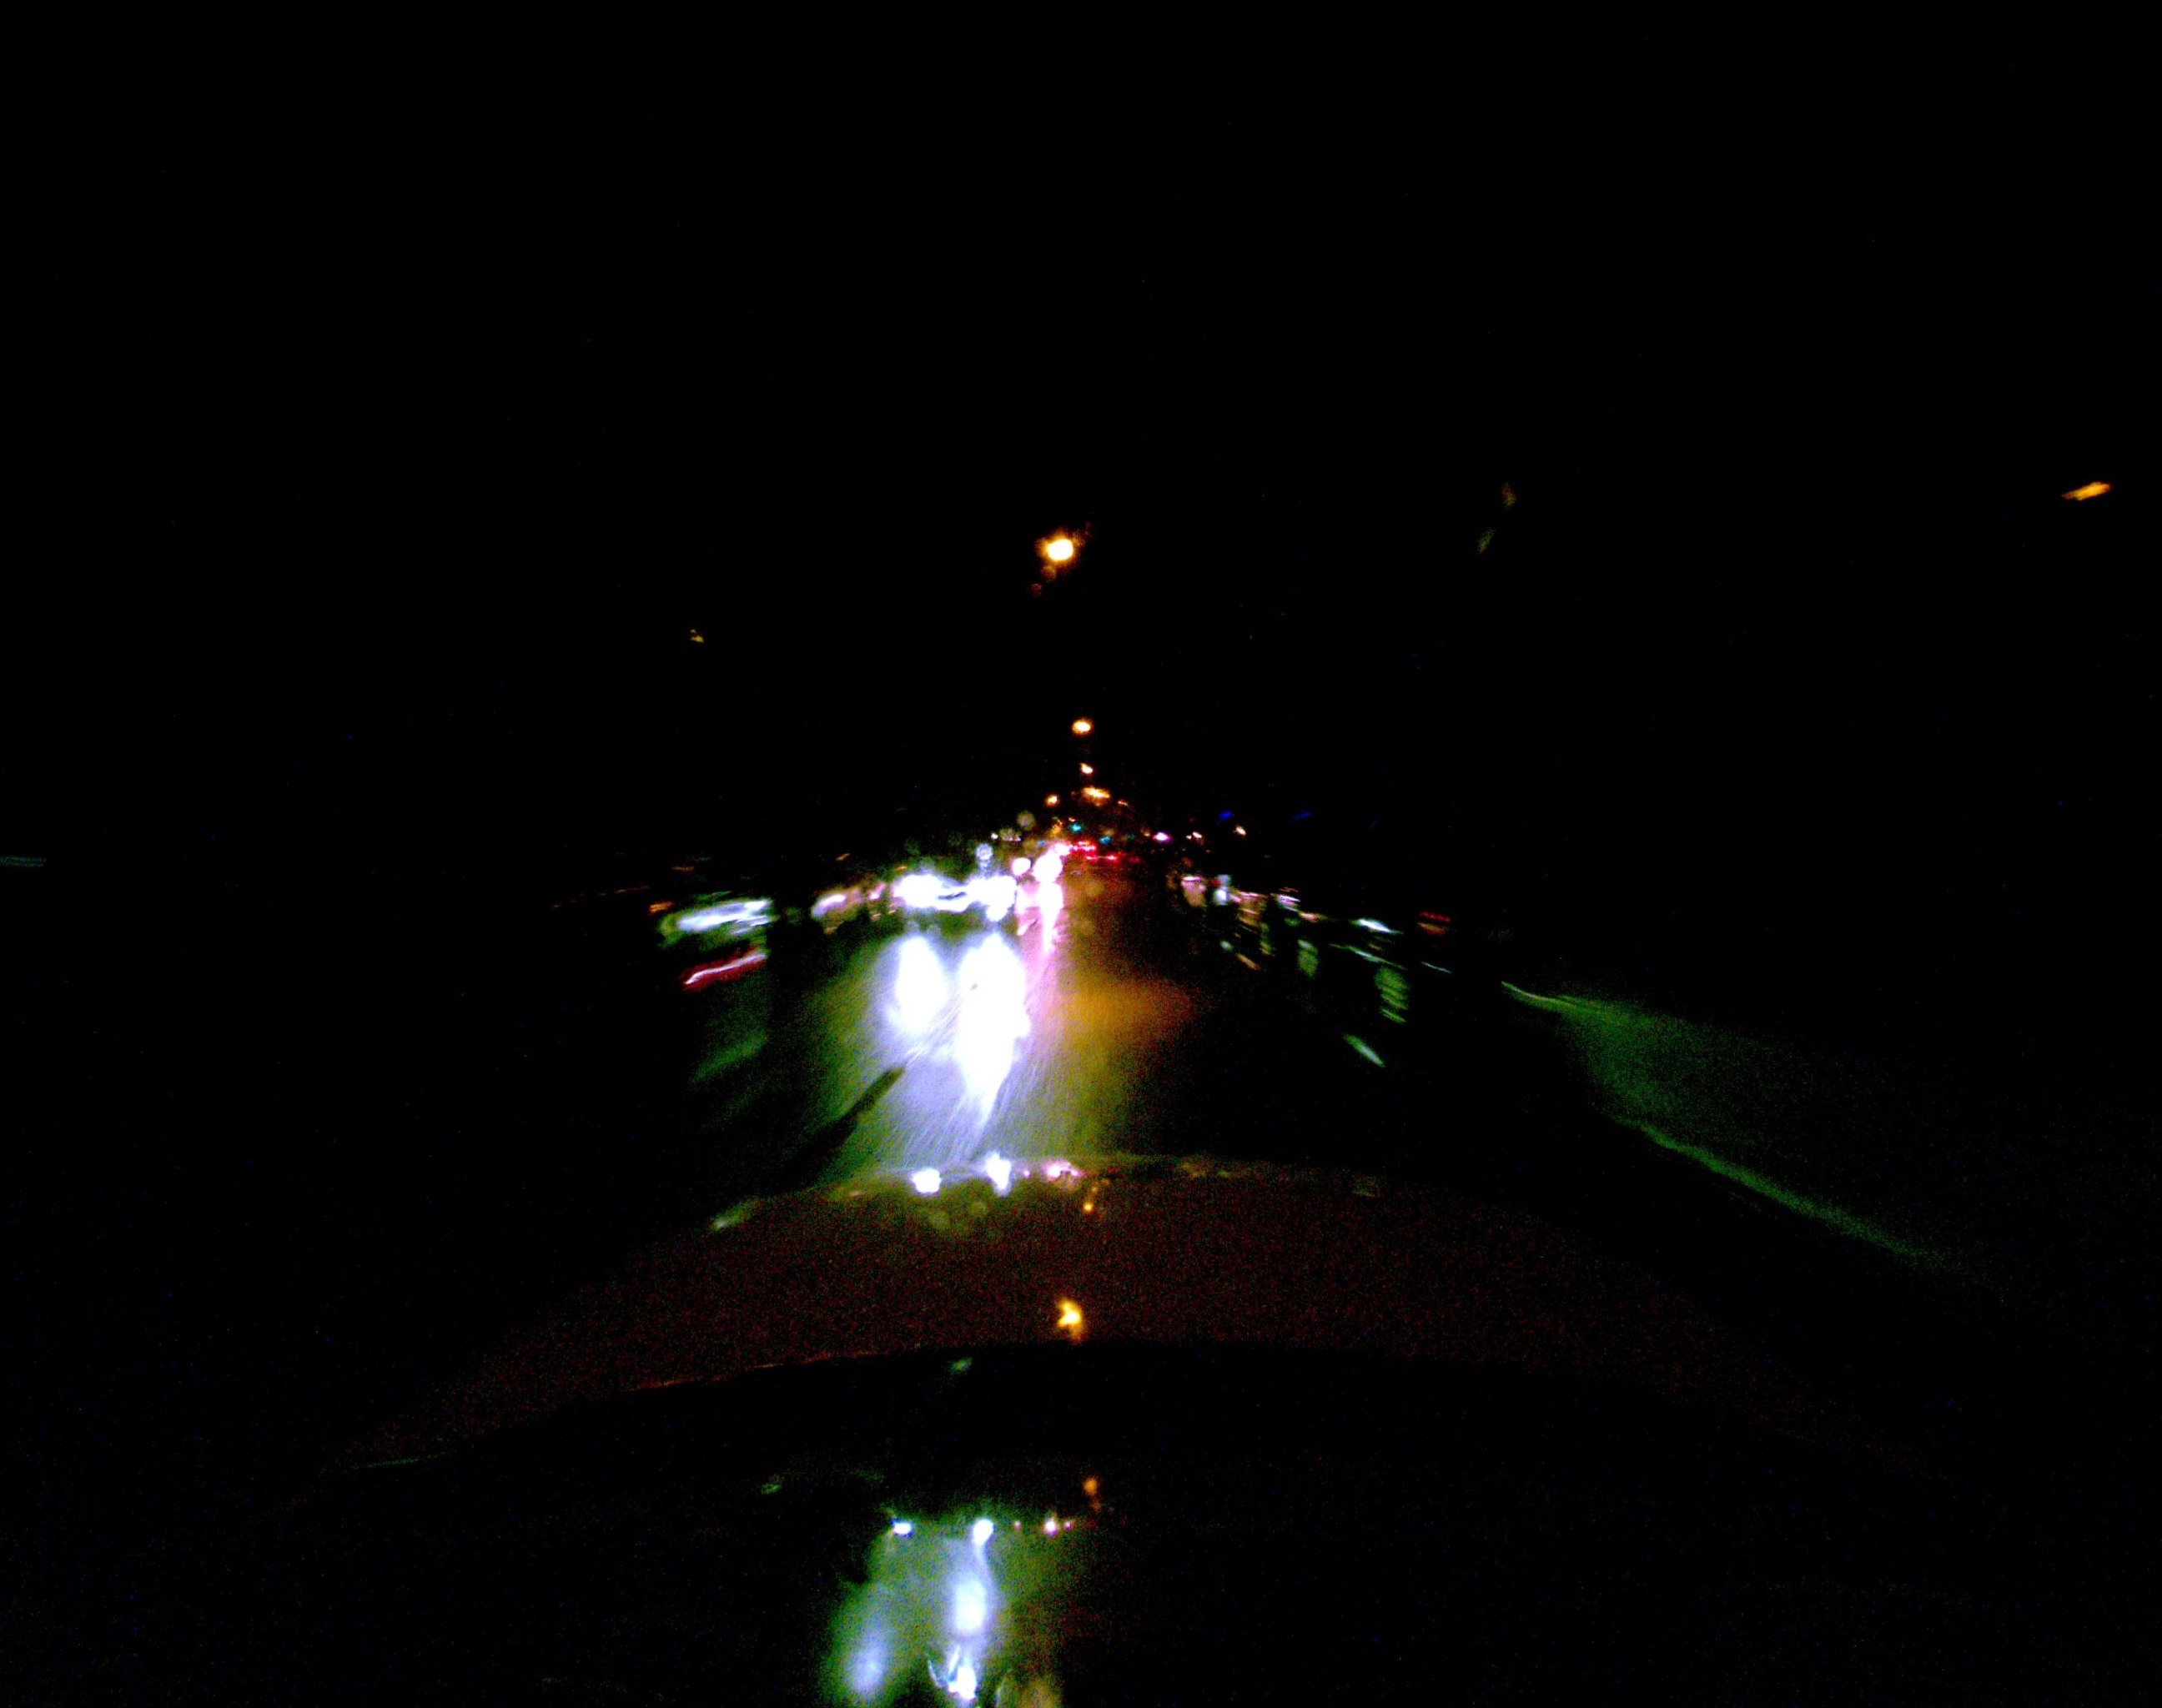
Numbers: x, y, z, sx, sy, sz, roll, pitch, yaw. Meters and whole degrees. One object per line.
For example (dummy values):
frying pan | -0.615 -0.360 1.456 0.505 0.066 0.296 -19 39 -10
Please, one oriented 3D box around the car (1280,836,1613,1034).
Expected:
car | 3.244 0.602 8.095 1.597 1.388 3.794 -4 0 1

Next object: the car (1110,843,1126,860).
car | 3.928 -0.287 87.011 1.530 1.709 3.805 -4 1 1

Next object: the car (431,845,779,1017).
car | -5.537 0.734 10.288 1.607 1.571 4.453 -5 1 1

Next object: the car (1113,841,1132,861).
car | 3.717 -0.285 73.226 1.530 1.709 3.805 -4 1 1

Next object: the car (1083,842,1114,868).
car | 1.233 0.058 56.722 1.986 1.684 4.002 -2 1 2

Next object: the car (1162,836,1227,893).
car | 3.498 0.280 25.638 1.530 1.561 3.805 -4 1 1

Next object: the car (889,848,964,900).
car | -5.159 0.611 27.753 1.570 1.462 4.001 -6 0 1

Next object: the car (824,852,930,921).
car | -5.345 0.797 21.865 1.588 1.538 4.002 -5 0 2

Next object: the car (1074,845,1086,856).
car | -0.213 -0.591 138.975 1.806 1.709 3.805 -4 1 1

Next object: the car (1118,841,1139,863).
car | 3.964 -0.172 68.021 1.530 1.709 3.805 -4 1 1

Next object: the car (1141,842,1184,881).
car | 3.547 0.282 35.937 1.530 1.561 3.805 -4 1 1

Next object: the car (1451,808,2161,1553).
car | 3.022 0.628 2.721 1.622 1.466 4.513 -4 1 3

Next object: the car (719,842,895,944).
car | -5.098 0.667 15.865 1.753 1.571 4.452 -4 0 1

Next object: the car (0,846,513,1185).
car | -5.717 0.792 4.656 1.605 1.536 4.305 -4 1 4

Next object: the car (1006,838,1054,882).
car | -2.204 0.267 36.117 1.683 1.785 4.001 -2 0 1

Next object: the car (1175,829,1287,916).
car | 3.309 0.349 18.697 1.814 1.673 4.001 -4 1 1

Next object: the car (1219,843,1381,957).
car | 3.184 0.577 12.519 1.490 1.388 3.749 -4 1 1

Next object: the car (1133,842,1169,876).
car | 3.535 0.223 41.529 1.530 1.561 3.805 -4 1 1

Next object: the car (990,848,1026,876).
car | -4.387 0.467 49.216 1.570 1.462 4.001 -6 0 1

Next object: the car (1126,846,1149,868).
car | 4.236 0.201 61.557 1.530 1.561 3.805 -4 1 1

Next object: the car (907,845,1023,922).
car | -2.437 0.551 18.339 1.814 1.463 4.866 -1 1 1

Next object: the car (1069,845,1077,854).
car | -1.583 -0.984 163.514 1.530 1.709 3.805 -4 1 1

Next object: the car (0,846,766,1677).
car | -2.841 0.730 2.599 1.851 1.461 4.523 -1 1 0
